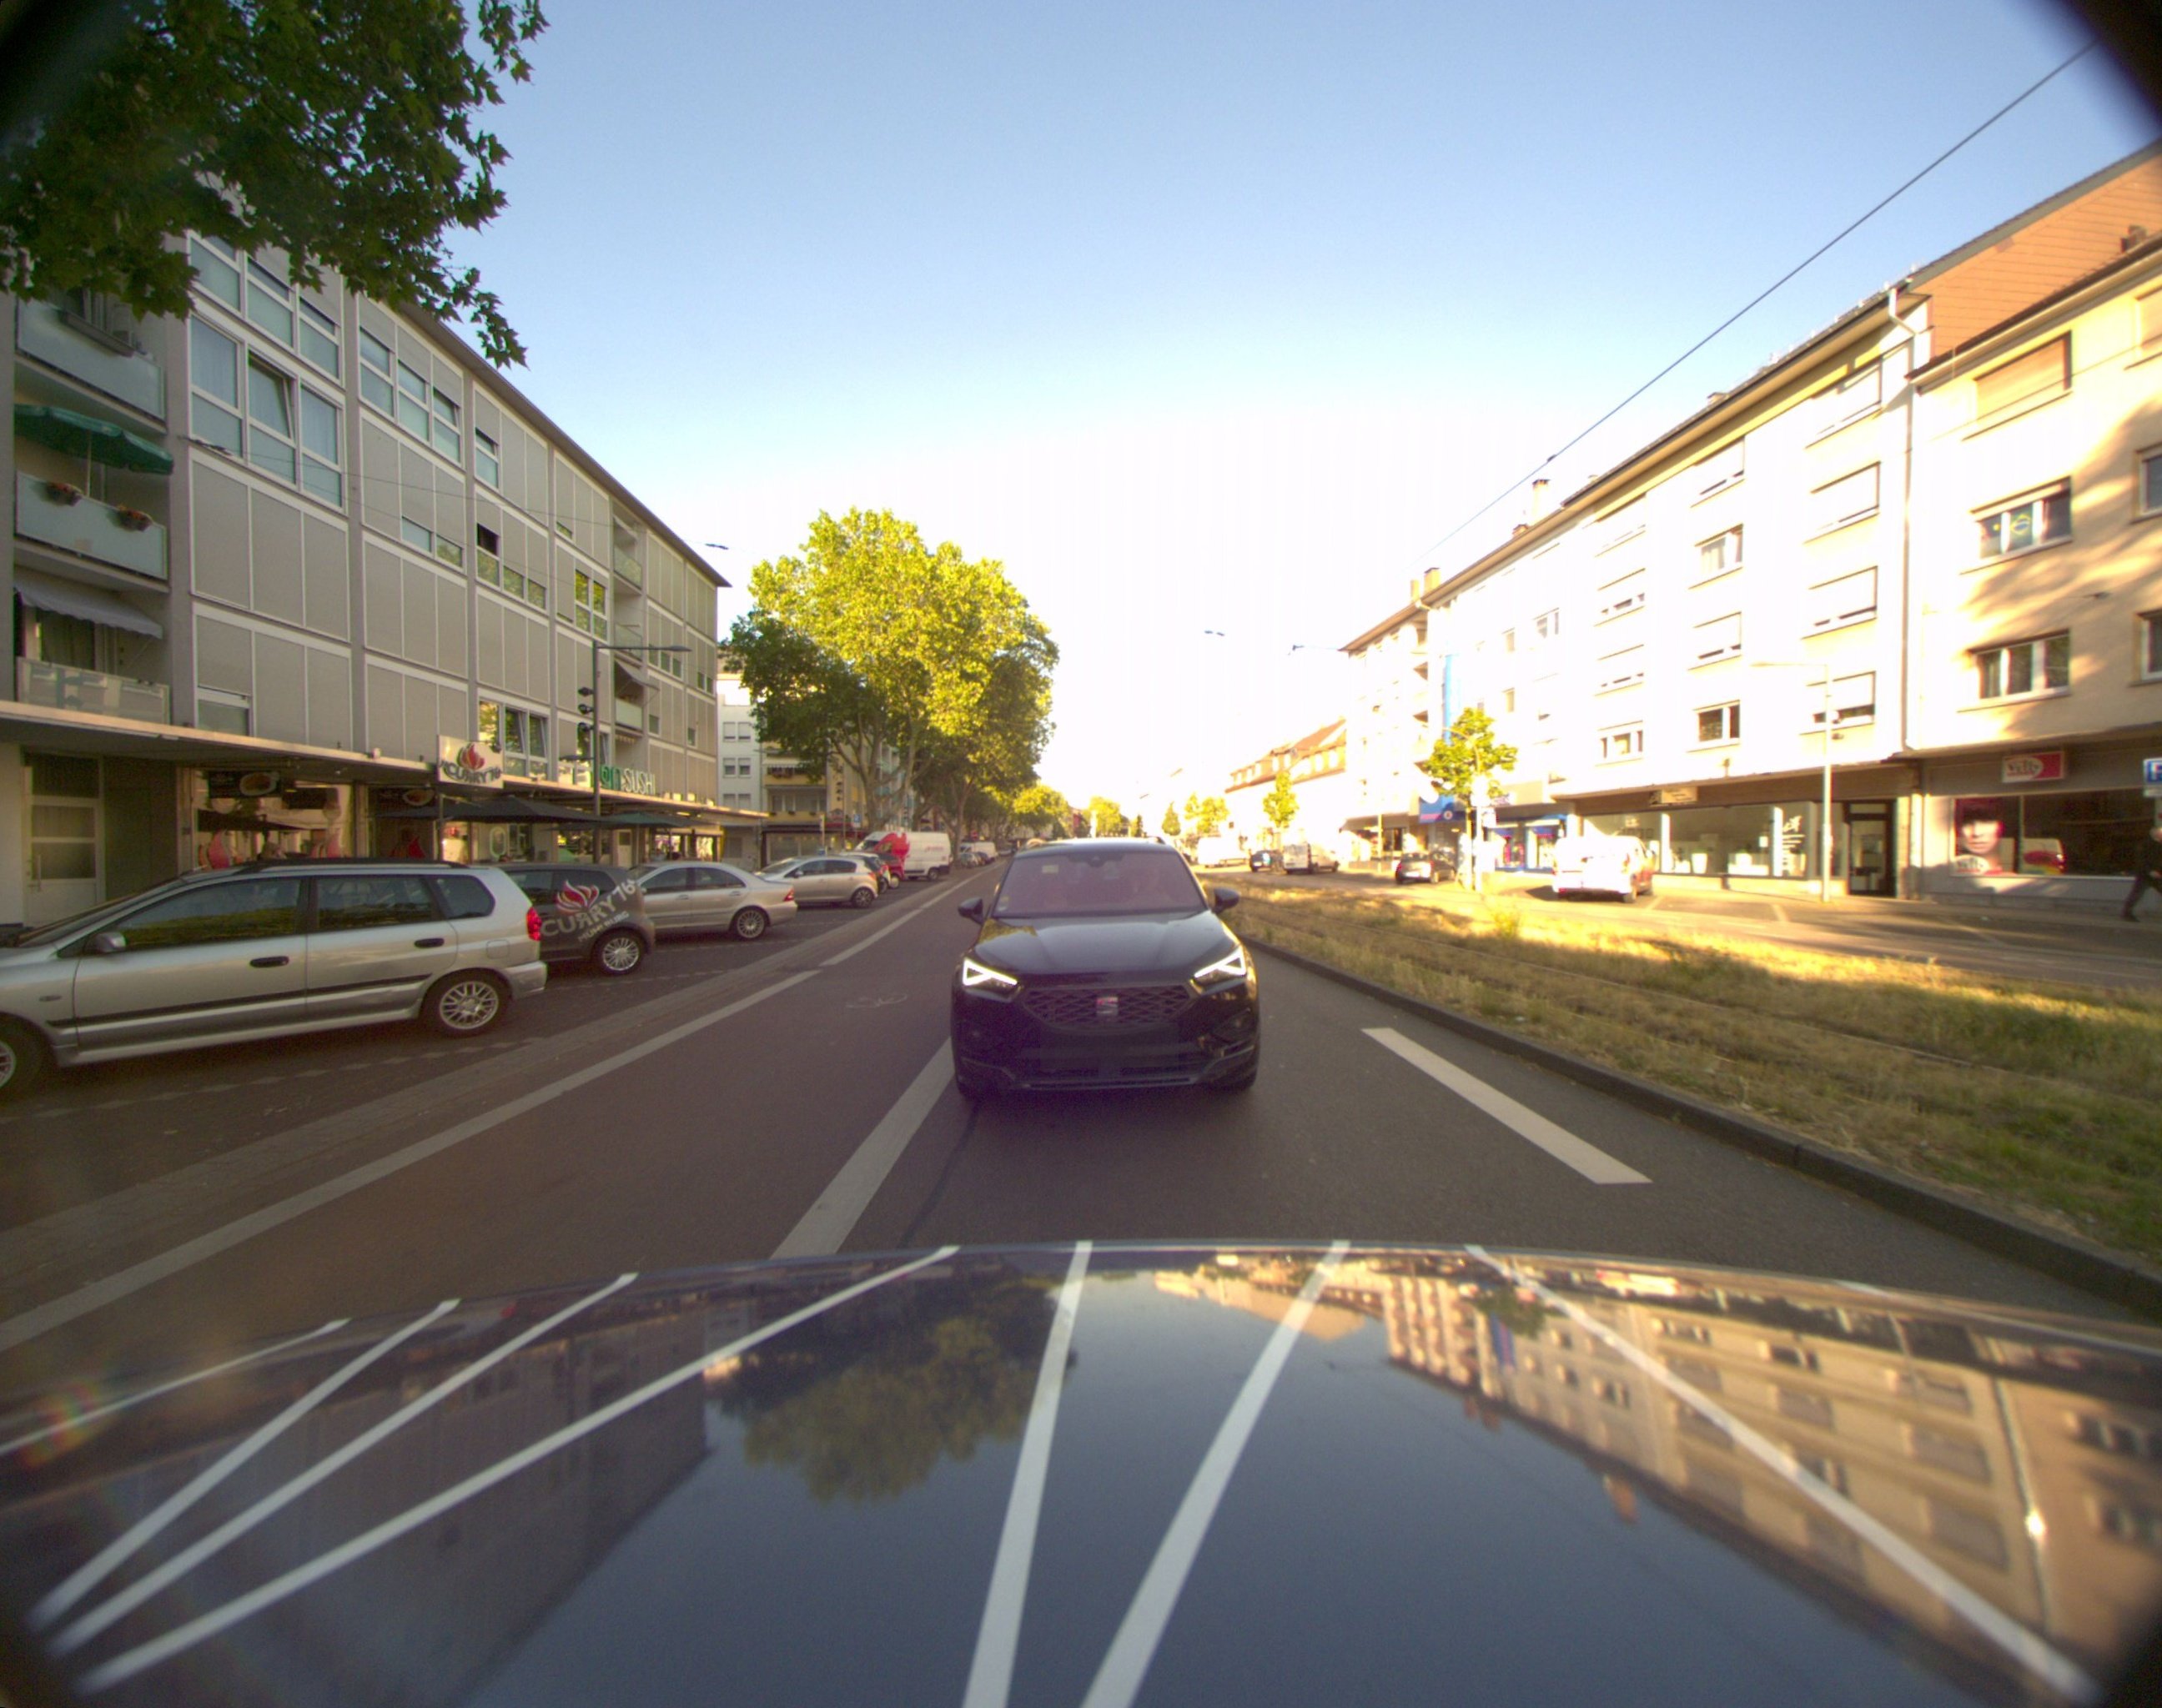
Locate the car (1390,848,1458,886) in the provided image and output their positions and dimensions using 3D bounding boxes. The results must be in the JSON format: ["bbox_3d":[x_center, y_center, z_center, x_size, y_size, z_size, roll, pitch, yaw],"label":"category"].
[{"bbox_3d":[15.373,0.555,33.951,1.731,1.489,4.008,-1,1,40],"label":"car"}]

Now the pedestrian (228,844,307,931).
[{"bbox_3d":[-15.144,0.603,14.164,0.583,1.573,0.771,0,1,2],"label":"pedestrian"}]

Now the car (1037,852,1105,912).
[{"bbox_3d":[-0.275,0.738,21.830,1.729,1.467,3.999,-2,1,-1],"label":"car"}]

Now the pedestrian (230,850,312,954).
[{"bbox_3d":[-12.551,0.721,11.795,0.561,1.567,0.642,0,1,-5],"label":"pedestrian"}]

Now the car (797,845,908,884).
[{"bbox_3d":[-9.172,0.439,30.559,3.948,1.421,1.672,1,2,-31],"label":"car"}]

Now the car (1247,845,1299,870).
[{"bbox_3d":[13.800,0.229,54.523,3.922,1.704,1.853,-3,1,-45],"label":"car"}]

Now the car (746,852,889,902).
[{"bbox_3d":[-8.342,0.719,24.158,3.949,1.420,1.672,1,1,-34],"label":"car"}]

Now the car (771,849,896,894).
[{"bbox_3d":[-8.862,0.635,27.265,3.948,1.421,1.672,2,2,-32],"label":"car"}]

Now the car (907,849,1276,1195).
[{"bbox_3d":[0.078,0.835,5.797,1.785,1.639,3.999,-2,1,1],"label":"car"}]

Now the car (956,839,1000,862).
[{"bbox_3d":[-11.516,-0.425,85.078,1.973,2.454,4.605,1,1,44],"label":"car"}]

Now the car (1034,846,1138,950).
[{"bbox_3d":[0.066,0.699,14.402,1.646,1.646,3.999,-2,1,-1],"label":"car"}]

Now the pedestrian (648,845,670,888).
[{"bbox_3d":[-16.191,0.478,29.162,0.537,1.630,0.478,0,1,-4],"label":"pedestrian"}]

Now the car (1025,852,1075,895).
[{"bbox_3d":[-1.117,0.677,29.159,1.729,1.443,4.227,-2,1,-1],"label":"car"}]

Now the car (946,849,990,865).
[{"bbox_3d":[-10.789,0.271,72.830,1.778,1.396,3.943,1,1,44],"label":"car"}]

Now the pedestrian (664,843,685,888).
[{"bbox_3d":[-15.634,0.446,29.224,0.545,1.710,0.457,0,1,-4],"label":"pedestrian"}]

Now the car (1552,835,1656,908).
[{"bbox_3d":[15.590,0.441,22.567,1.853,1.888,4.007,-1,2,44],"label":"car"}]

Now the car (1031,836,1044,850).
[{"bbox_3d":[-9.526,-2.445,167.675,2.660,2.989,7.131,-2,1,-2],"label":"car"}]

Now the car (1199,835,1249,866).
[{"bbox_3d":[13.017,-0.379,68.603,1.922,2.599,6.601,-1,1,34],"label":"car"}]

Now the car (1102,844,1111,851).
[{"bbox_3d":[5.796,-1.384,171.908,1.846,1.571,4.449,0,1,-1],"label":"car"}]

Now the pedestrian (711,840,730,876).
[{"bbox_3d":[-20.189,0.225,42.546,0.748,2.002,0.559,0,1,-4],"label":"pedestrian"}]

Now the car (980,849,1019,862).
[{"bbox_3d":[-8.825,0.154,82.584,1.778,1.326,3.943,0,1,44],"label":"car"}]

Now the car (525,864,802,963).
[{"bbox_3d":[-7.160,0.917,13.353,1.592,1.393,3.950,2,1,41],"label":"car"}]

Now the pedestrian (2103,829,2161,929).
[{"bbox_3d":[19.987,0.440,14.117,0.757,1.817,0.917,-1,1,1],"label":"pedestrian"}]

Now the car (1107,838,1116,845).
[{"bbox_3d":[8.353,-3.327,207.426,1.999,1.783,3.998,0,1,-4],"label":"car"}]

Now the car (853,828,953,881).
[{"bbox_3d":[-8.778,0.055,37.761,4.606,2.479,1.672,0,0,-44],"label":"car"}]

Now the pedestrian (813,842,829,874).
[{"bbox_3d":[-16.120,0.224,47.117,0.748,1.964,0.575,0,1,-4],"label":"pedestrian"}]

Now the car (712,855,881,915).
[{"bbox_3d":[-7.568,0.783,20.488,3.950,1.420,1.555,1,1,-45],"label":"car"}]

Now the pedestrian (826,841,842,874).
[{"bbox_3d":[-15.320,0.215,47.084,0.748,2.002,0.764,0,1,-4],"label":"pedestrian"}]

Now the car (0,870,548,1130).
[{"bbox_3d":[-6.869,0.956,6.041,1.672,1.533,3.993,2,1,38],"label":"car"}]

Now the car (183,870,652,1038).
[{"bbox_3d":[-7.562,0.960,9.028,1.672,1.420,3.950,2,1,38],"label":"car"}]

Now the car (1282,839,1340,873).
[{"bbox_3d":[14.519,0.098,47.827,1.853,1.927,4.513,-1,1,40],"label":"car"}]
